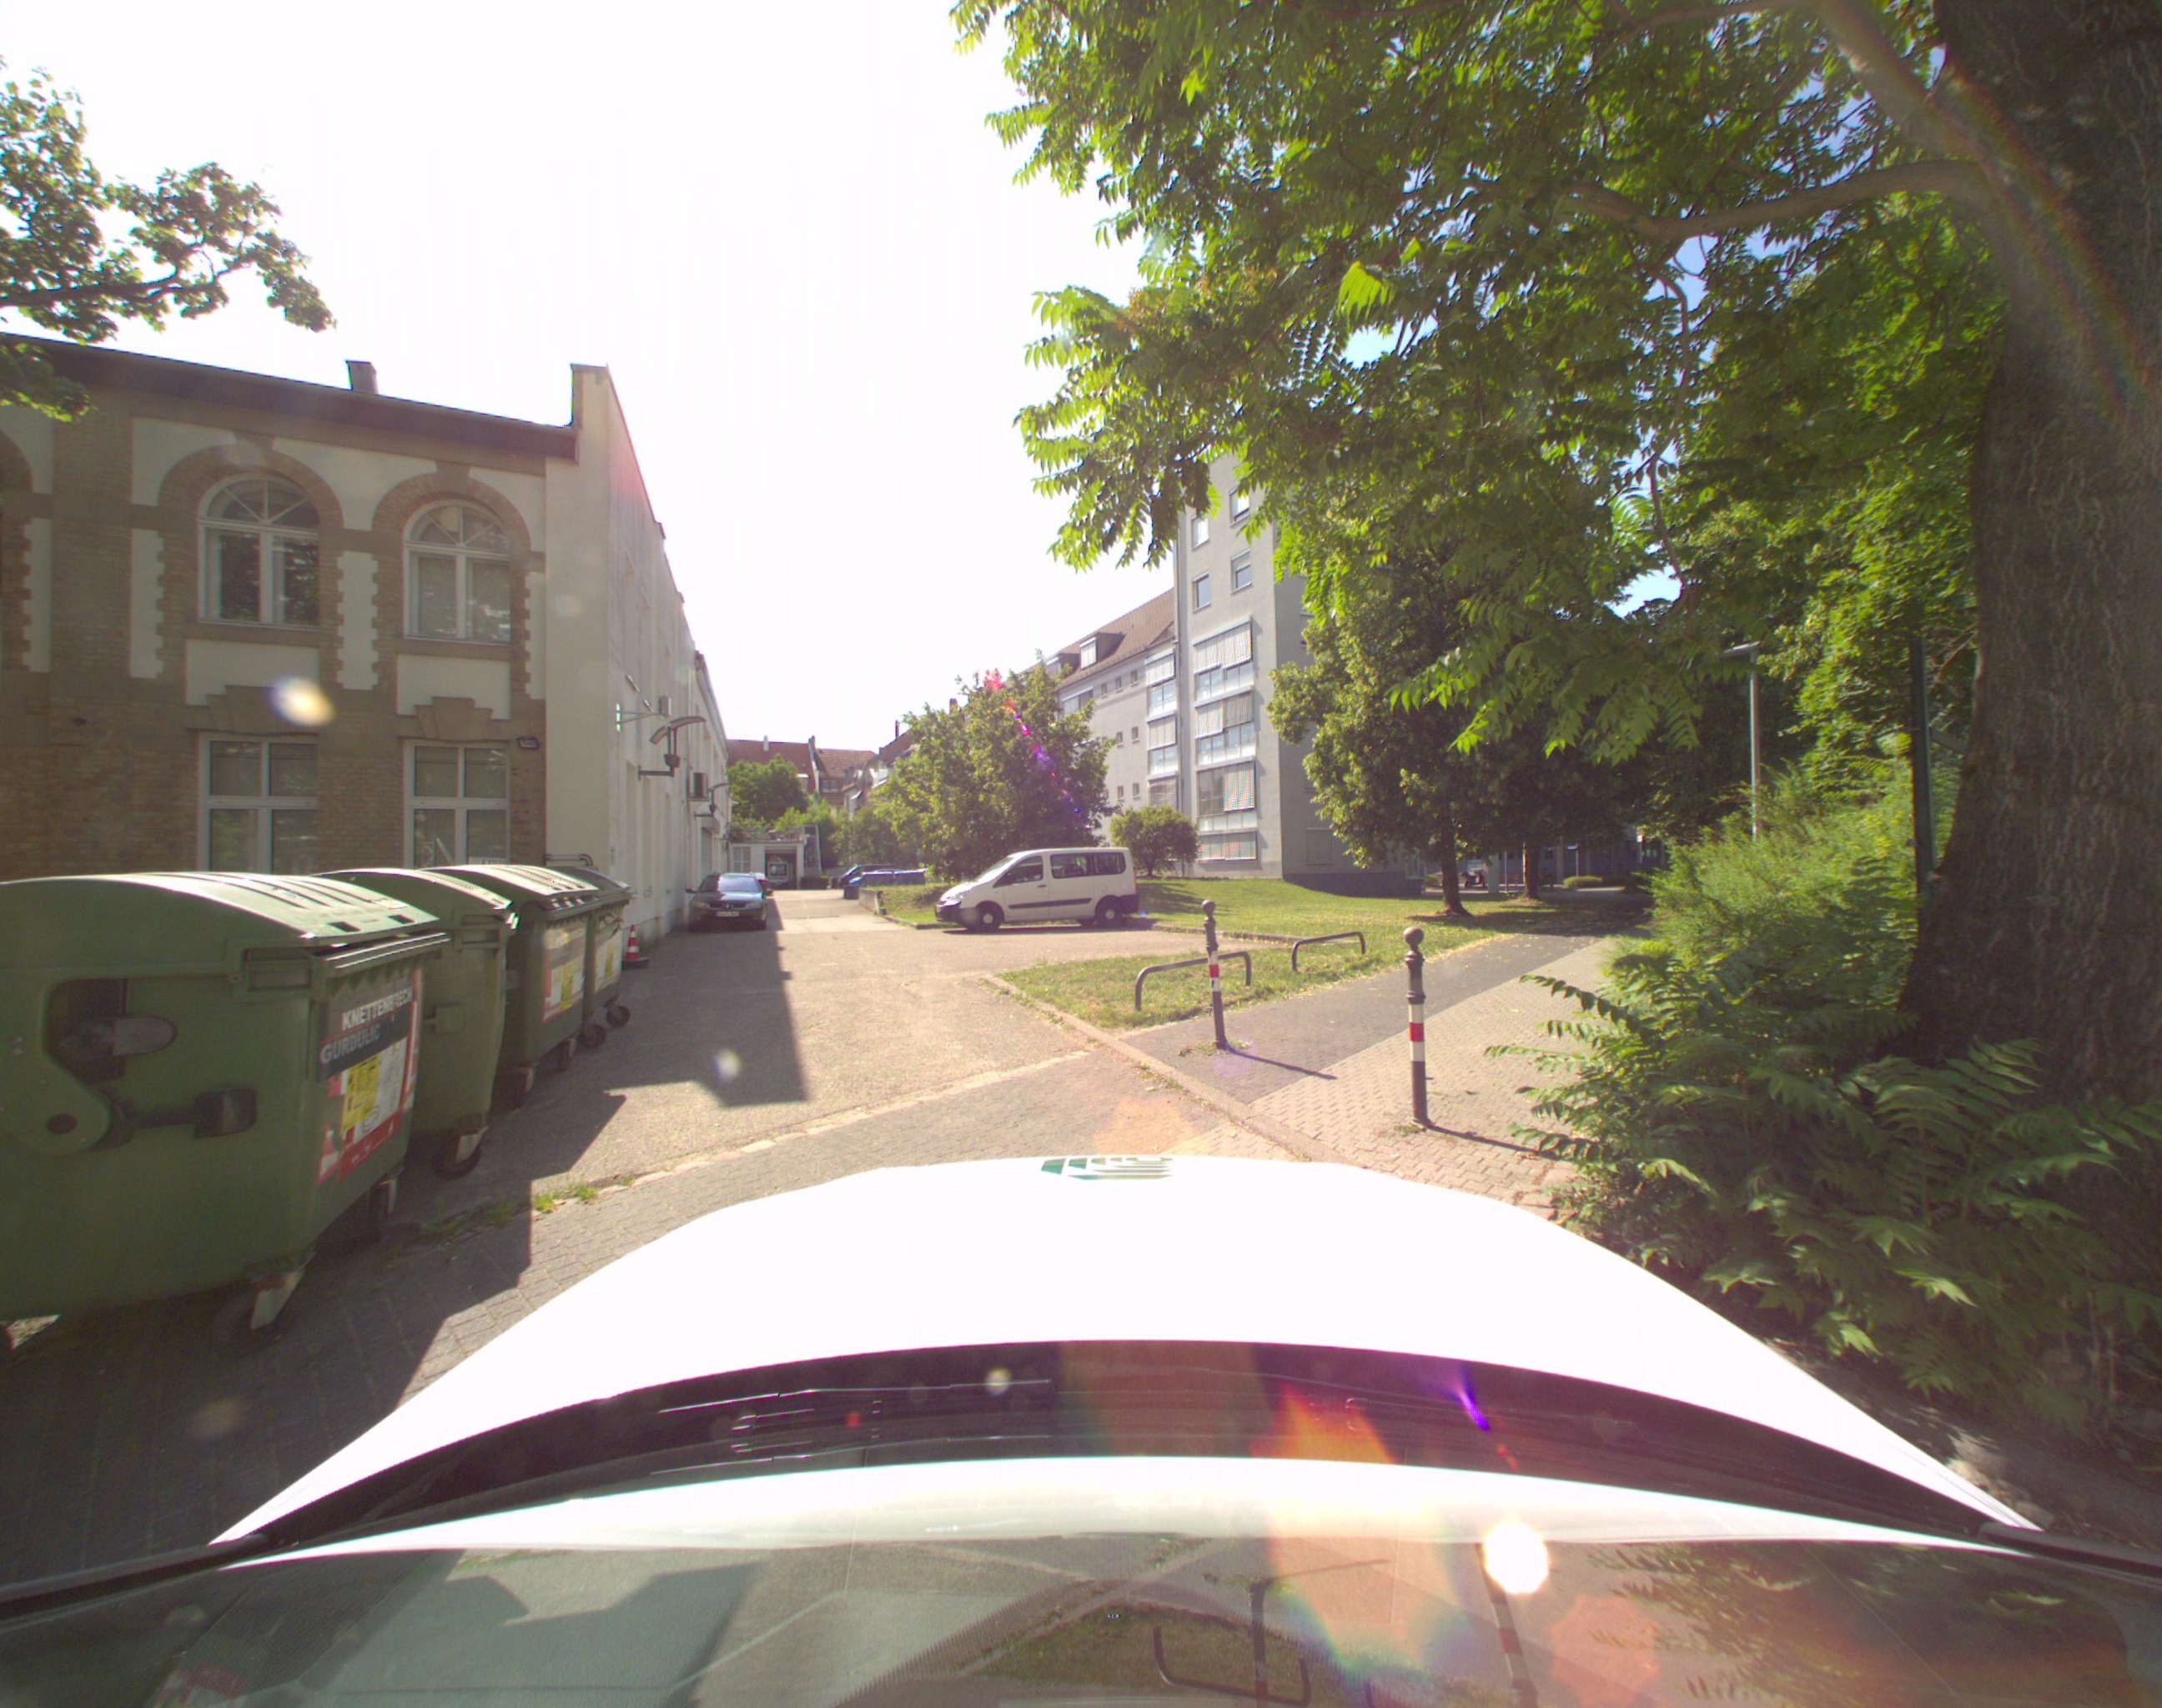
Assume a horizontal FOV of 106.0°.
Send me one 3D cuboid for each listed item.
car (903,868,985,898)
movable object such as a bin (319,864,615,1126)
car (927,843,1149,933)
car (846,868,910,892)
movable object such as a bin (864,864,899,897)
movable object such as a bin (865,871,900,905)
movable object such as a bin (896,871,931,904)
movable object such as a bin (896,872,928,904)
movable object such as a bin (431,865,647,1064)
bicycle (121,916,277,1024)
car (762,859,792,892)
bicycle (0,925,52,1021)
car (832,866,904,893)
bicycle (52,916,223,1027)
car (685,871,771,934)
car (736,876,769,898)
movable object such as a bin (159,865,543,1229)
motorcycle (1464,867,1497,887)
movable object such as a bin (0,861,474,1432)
[{"bbox_3d":[-7.408,1.540,44.050,4.006,1.427,1.797,-2,-1,-25],"label":"car"},{"bbox_3d":[-3.937,0.805,5.432,1.249,1.431,1.356,-1,-1,-22],"label":"movable object such as a bin"},{"bbox_3d":[-1.065,0.759,19.853,5.042,1.933,1.986,-1,-1,-21],"label":"car"},{"bbox_3d":[-15.019,1.907,60.219,4.250,1.532,1.983,-2,0,-25],"label":"car"},{"bbox_3d":[-8.651,1.147,35.348,1.253,1.355,1.119,-1,-1,-25],"label":"movable object such as a bin"},{"bbox_3d":[-8.182,1.401,33.542,1.251,1.319,1.134,-3,-2,-20],"label":"movable object such as a bin"},{"bbox_3d":[-7.036,1.389,34.175,1.251,1.340,1.135,-1,-1,-19],"label":"movable object such as a bin"},{"bbox_3d":[-7.453,1.485,35.911,1.161,1.336,1.133,-1,-1,-25],"label":"movable object such as a bin"},{"bbox_3d":[-4.441,0.829,6.846,1.249,1.431,1.340,-1,-1,-22],"label":"movable object such as a bin"},{"bbox_3d":[-10.041,1.275,9.349,0.446,0.992,1.675,-2,0,-19],"label":"bicycle"},{"bbox_3d":[-25.959,1.894,69.542,2.182,2.607,6.685,-2,-1,-21],"label":"car"},{"bbox_3d":[-11.880,1.318,8.617,0.446,0.992,1.531,-2,0,-19],"label":"bicycle"},{"bbox_3d":[-16.458,1.948,63.121,4.988,1.767,2.074,-2,0,-34],"label":"car"},{"bbox_3d":[-10.500,1.259,9.139,0.446,0.992,1.656,-2,0,-19],"label":"bicycle"},{"bbox_3d":[-9.102,1.239,21.199,1.844,1.442,4.396,1,-3,-22],"label":"car"},{"bbox_3d":[-20.386,2.033,50.558,1.859,1.320,3.970,1,-2,-22],"label":"car"},{"bbox_3d":[-3.499,0.791,4.123,1.253,1.431,1.211,-1,-1,-33],"label":"movable object such as a bin"},{"bbox_3d":[25.349,1.456,51.718,2.063,1.246,0.626,-1,-1,-21],"label":"motorcycle"},{"bbox_3d":[-3.014,0.787,2.812,1.251,1.481,1.327,-1,-1,-27],"label":"movable object such as a bin"}]
